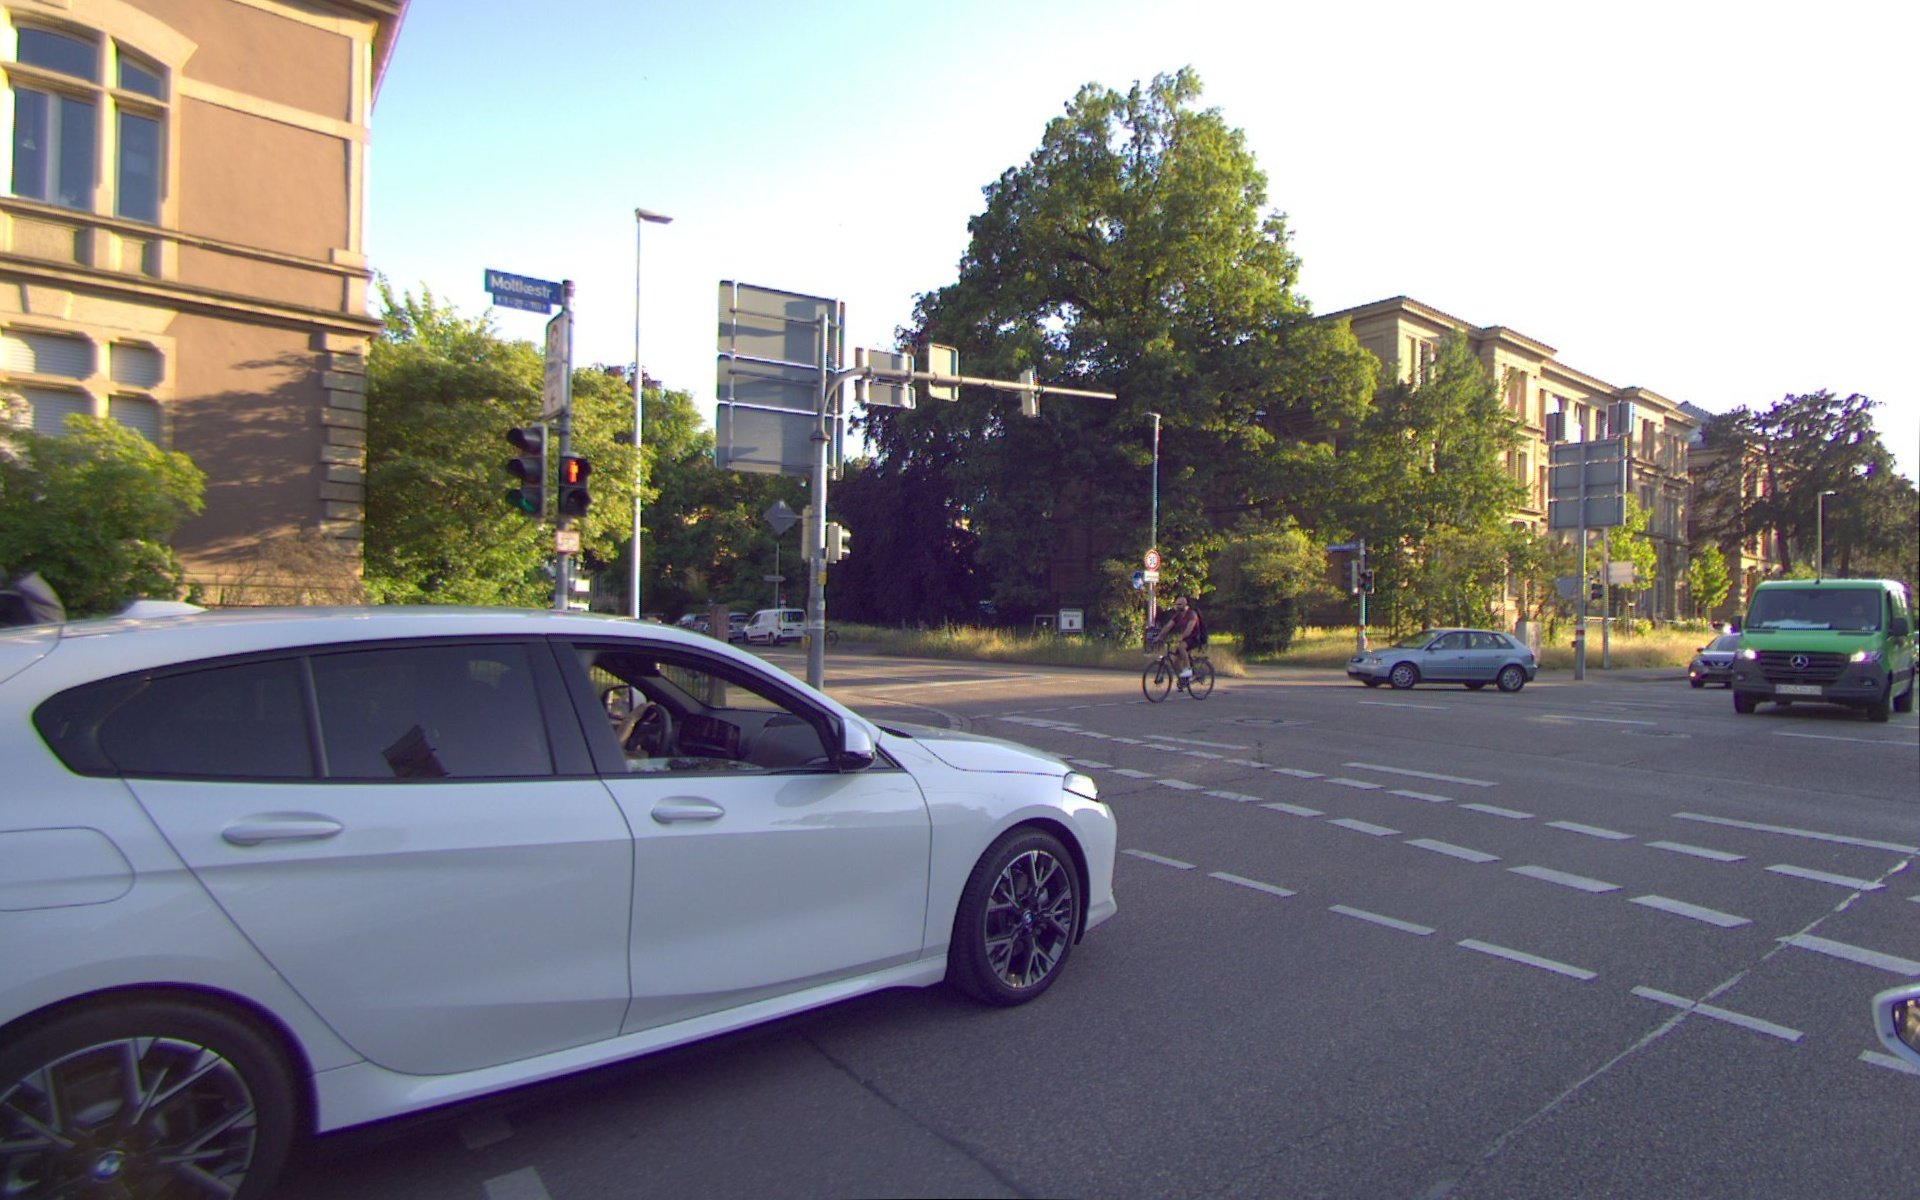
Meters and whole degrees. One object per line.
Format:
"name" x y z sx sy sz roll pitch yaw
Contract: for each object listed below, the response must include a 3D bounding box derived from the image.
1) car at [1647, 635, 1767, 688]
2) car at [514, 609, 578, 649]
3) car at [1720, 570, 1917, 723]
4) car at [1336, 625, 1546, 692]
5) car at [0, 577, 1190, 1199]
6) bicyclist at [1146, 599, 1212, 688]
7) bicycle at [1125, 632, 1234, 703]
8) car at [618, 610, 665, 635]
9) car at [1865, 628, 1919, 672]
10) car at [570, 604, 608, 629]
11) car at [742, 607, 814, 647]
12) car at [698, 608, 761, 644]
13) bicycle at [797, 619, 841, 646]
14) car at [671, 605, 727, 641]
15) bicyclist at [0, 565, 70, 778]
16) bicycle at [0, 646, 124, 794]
"car" 20.779 1.675 27.903 3.610 1.346 1.752 2 -1 -37
"car" -17.380 1.180 42.117 1.674 1.530 3.663 -1 1 -36
"car" 15.467 0.785 17.949 5.898 2.308 2.020 2 -1 -43
"car" 11.054 1.322 23.257 4.059 1.427 1.735 1 -1 -2
"car" -1.184 0.742 3.569 4.154 1.485 1.738 2 -1 -39
"bicyclist" 3.876 0.761 17.753 0.947 1.532 0.678 2 -1 -37
"bicycle" 3.905 1.161 17.776 2.149 1.138 0.681 0 0 -38
"car" -21.300 1.490 67.114 1.919 1.664 3.960 2 -1 -35
"car" 38.530 2.004 40.833 4.471 1.657 1.752 2 -1 -37
"car" -28.833 1.251 77.924 1.782 1.751 3.960 2 0 -35
"car" -9.102 1.328 50.000 1.846 1.870 4.076 2 -1 -38
"car" -12.653 1.417 55.041 1.845 1.870 4.144 2 -1 -36
"bicycle" -6.591 1.522 46.944 1.857 1.171 0.746 2 0 -33
"car" -15.338 1.357 58.938 1.919 2.040 3.960 2 -1 -35
"bicyclist" -7.734 0.547 7.974 0.906 1.654 0.646 2 0 -37
"bicycle" -7.844 0.937 7.907 1.886 1.104 0.653 2 1 -37
